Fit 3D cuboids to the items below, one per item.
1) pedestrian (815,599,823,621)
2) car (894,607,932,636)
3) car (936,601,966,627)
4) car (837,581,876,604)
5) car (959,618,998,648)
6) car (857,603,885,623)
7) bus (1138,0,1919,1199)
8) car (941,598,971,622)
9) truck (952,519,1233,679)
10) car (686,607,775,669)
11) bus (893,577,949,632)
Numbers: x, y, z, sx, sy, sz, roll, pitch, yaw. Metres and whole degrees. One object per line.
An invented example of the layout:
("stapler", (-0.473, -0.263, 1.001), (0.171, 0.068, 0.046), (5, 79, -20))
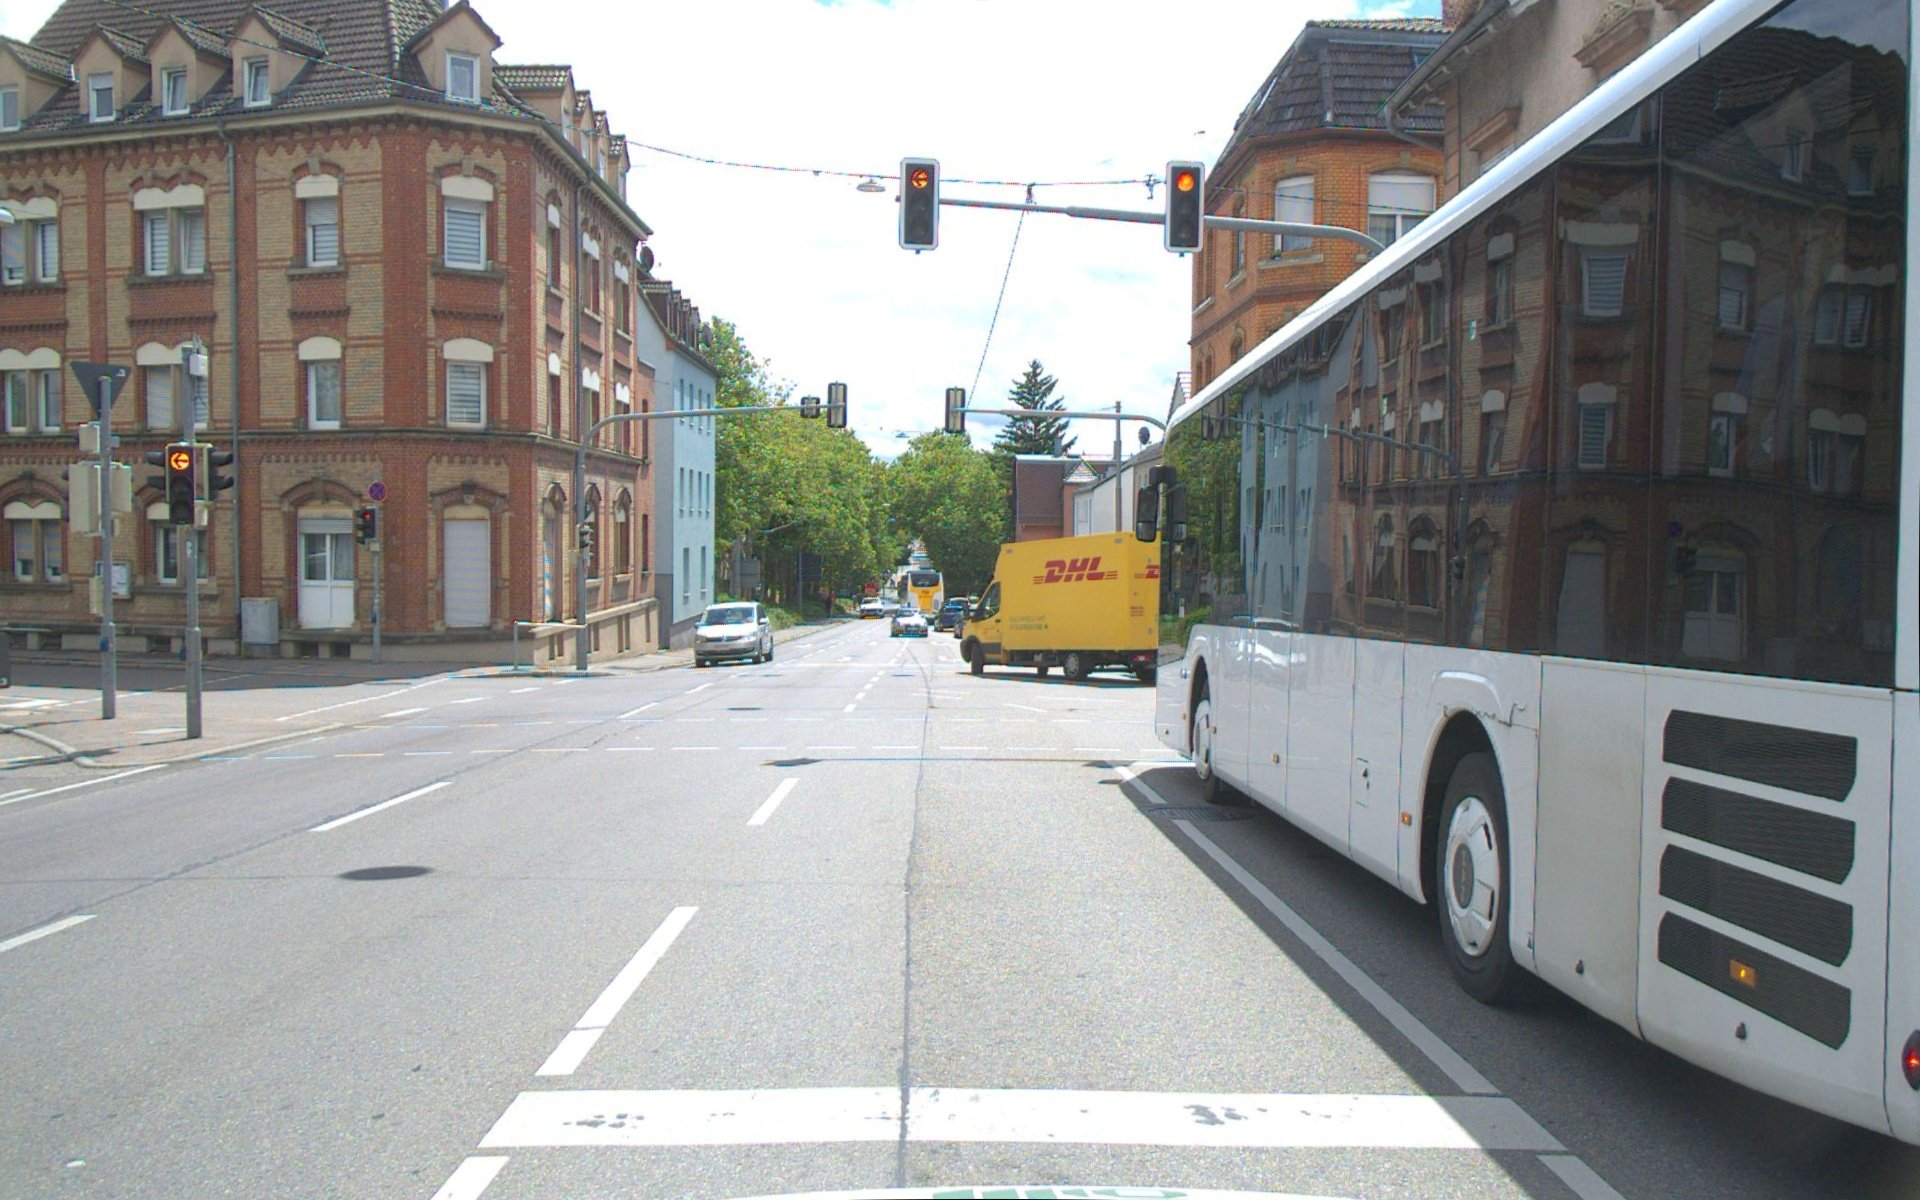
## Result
("pedestrian", (-11.619, 0.837, 136.355), (0.594, 1.789, 0.653), (0, 0, -2))
("car", (-2.330, 1.055, 82.789), (1.827, 1.391, 4.546), (0, 0, -1))
("car", (-0.520, 0.776, 91.490), (1.576, 1.400, 3.999), (0, 0, -1))
("car", (-14.810, -1.069, 236.959), (5.579, 3.124, 2.115), (1, -1, -43))
("car", (0.876, 1.602, 81.259), (1.827, 1.391, 4.546), (0, 0, -1))
("car", (-7.314, 1.042, 136.353), (2.162, 1.641, 4.546), (0, 0, -1))
("bus", (3.218, -0.237, 9.347), (2.845, 3.571, 12.484), (1, 0, -1))
("car", (-0.316, 0.771, 129.298), (2.050, 1.862, 4.139), (0, 0, -4))
("truck", (2.549, -0.018, 34.111), (2.515, 2.964, 6.505), (1, 0, -30))
("car", (-6.248, 1.009, 45.443), (1.896, 1.591, 4.388), (0, 0, -1))
("bus", (-2.858, 0.322, 117.543), (3.236, 3.694, 11.232), (-1, 0, -5))
